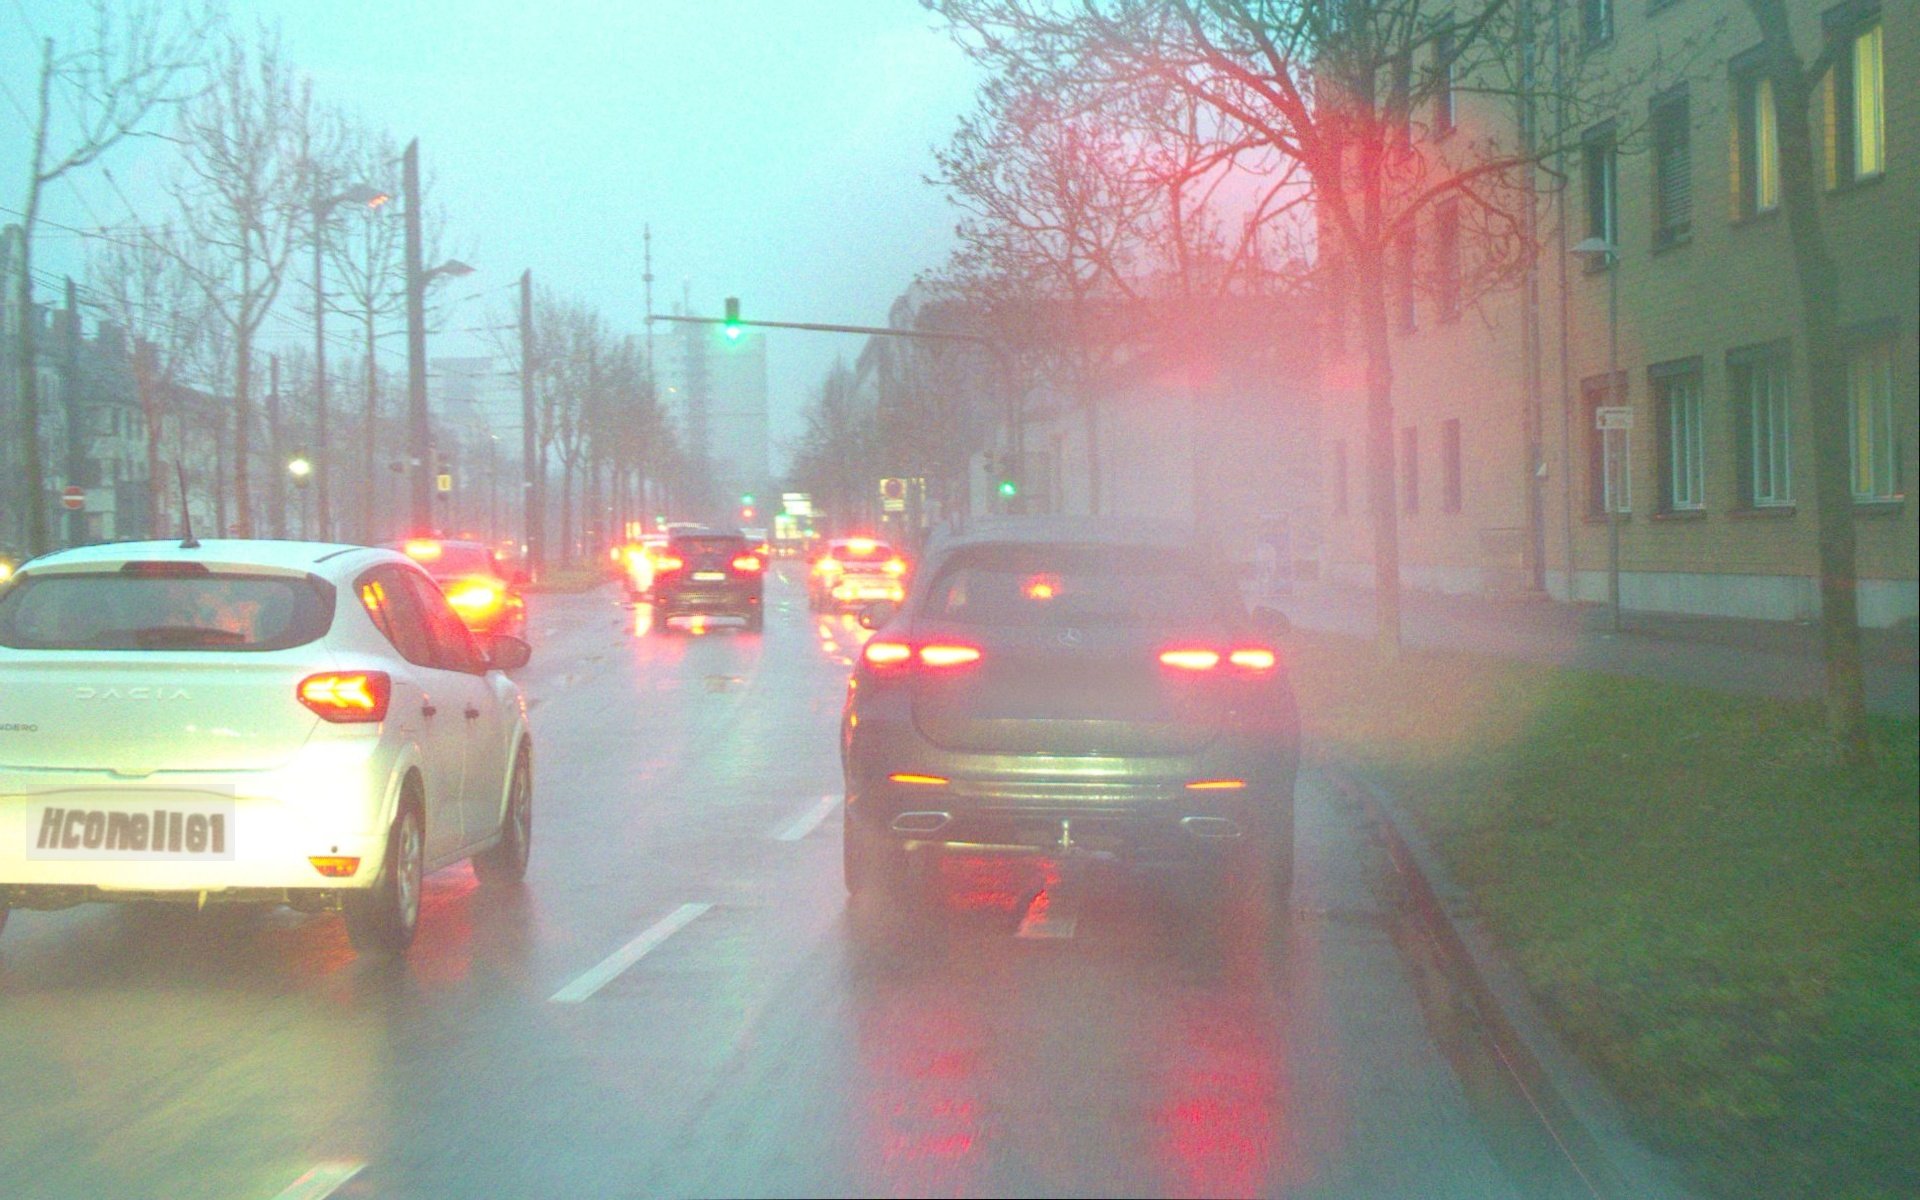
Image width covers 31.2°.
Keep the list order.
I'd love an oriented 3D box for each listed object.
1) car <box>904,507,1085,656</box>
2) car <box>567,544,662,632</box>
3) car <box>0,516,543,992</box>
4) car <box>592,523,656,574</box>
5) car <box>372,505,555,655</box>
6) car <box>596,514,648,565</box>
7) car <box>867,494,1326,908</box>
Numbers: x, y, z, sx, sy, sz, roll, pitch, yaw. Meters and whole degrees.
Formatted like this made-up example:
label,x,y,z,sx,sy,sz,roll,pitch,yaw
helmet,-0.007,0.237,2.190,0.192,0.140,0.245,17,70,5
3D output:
label,x,y,z,sx,sy,sz,roll,pitch,yaw
car,0.381,-0.255,43.032,1.993,1.738,4.001,-1,1,-3
car,-8.303,-0.311,82.844,1.993,2.007,4.001,-1,1,-2
car,-2.623,0.481,13.555,1.672,1.594,4.054,0,1,-3
car,-11.826,-1.830,121.359,1.993,1.711,4.001,-1,1,-2
car,-5.514,-0.248,38.569,1.672,1.594,4.054,0,1,-3
car,-13.631,-2.438,138.696,1.816,2.007,4.001,-1,1,-2
car,0.473,0.354,15.289,1.672,1.594,4.054,0,1,-3
